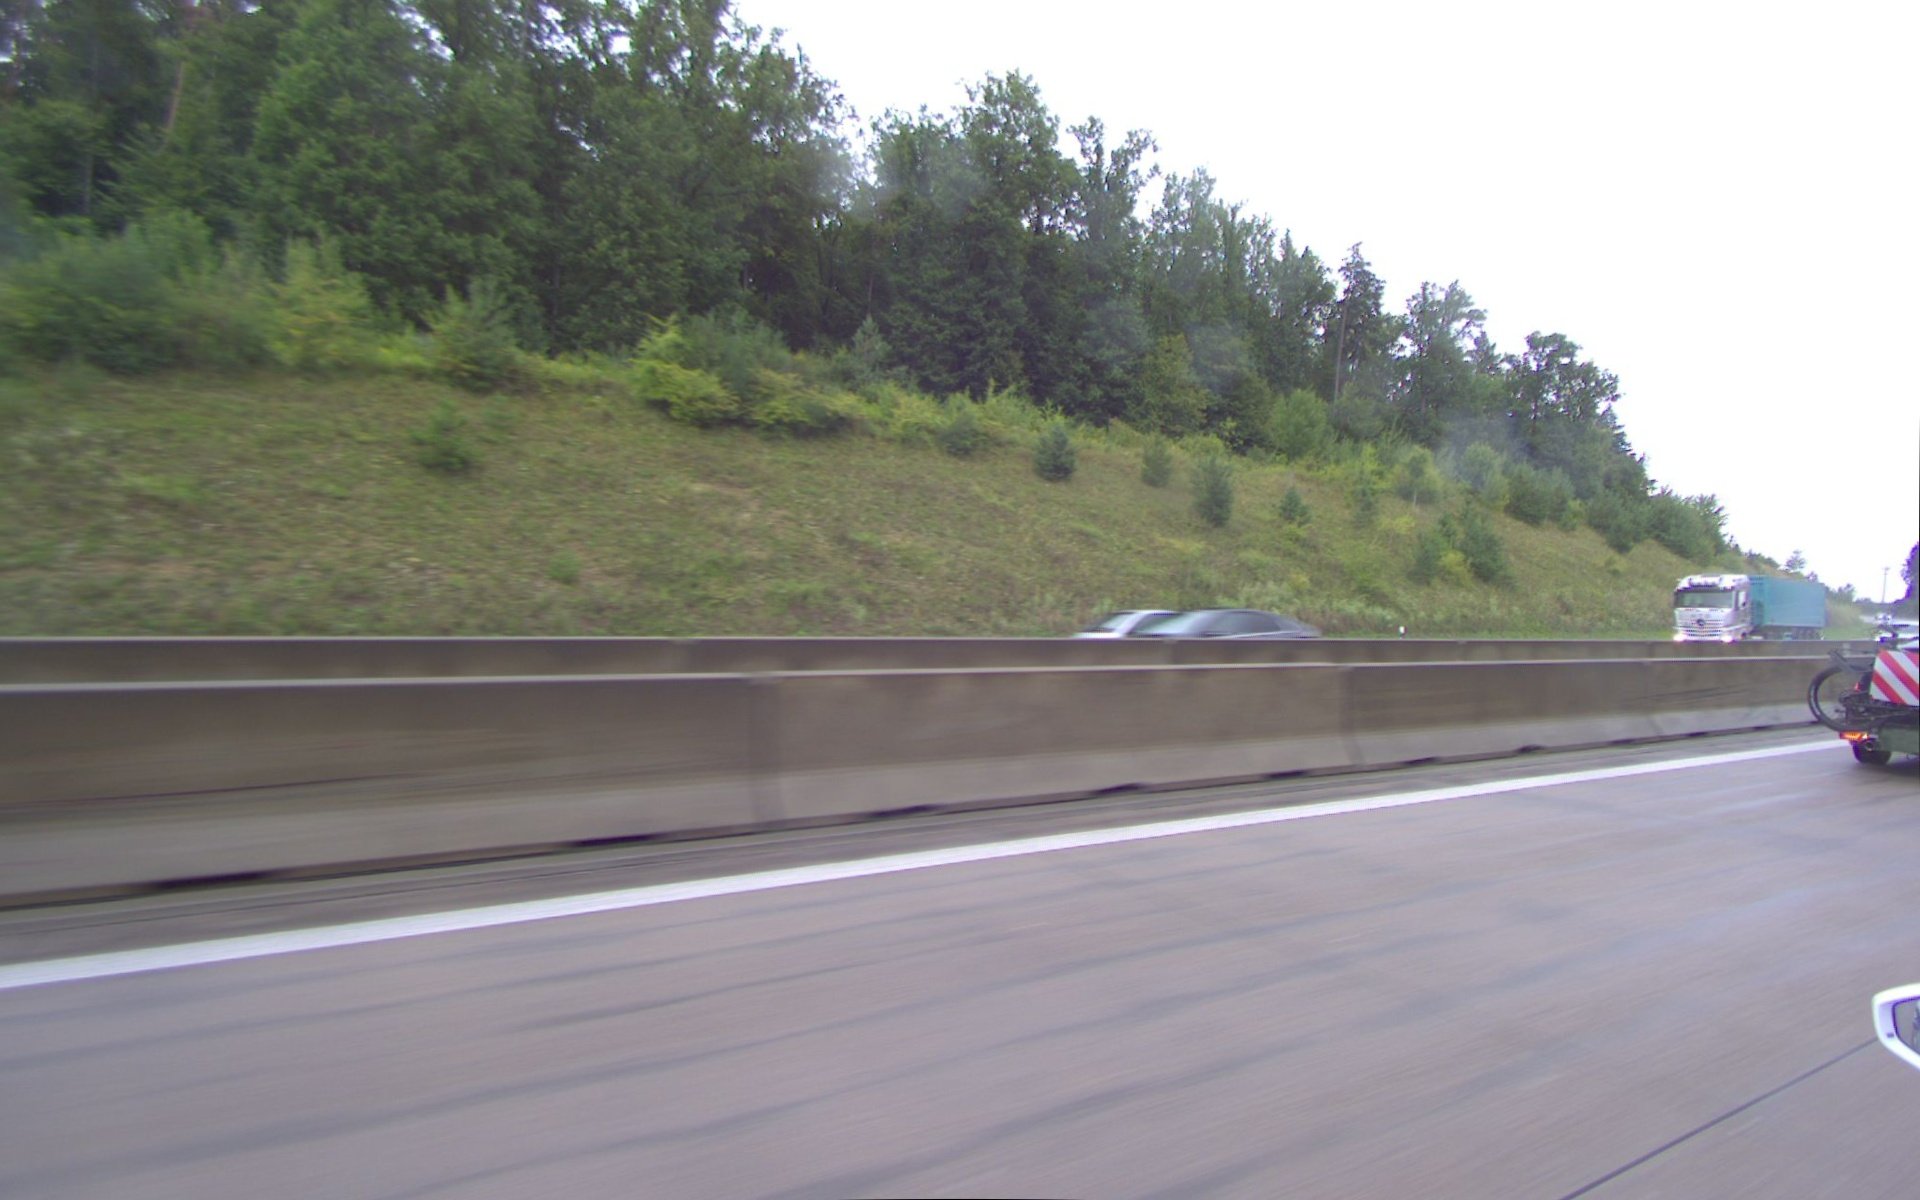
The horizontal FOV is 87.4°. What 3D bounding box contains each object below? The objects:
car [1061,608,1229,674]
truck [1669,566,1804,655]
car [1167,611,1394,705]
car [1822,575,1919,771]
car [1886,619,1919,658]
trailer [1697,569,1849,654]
[{"bbox_3d":[4.643,1.008,25.103,3.953,1.513,1.722,1,0,-30],"label":"car"},{"bbox_3d":[36.923,0.538,47.689,7.289,3.941,2.889,1,0,-34],"label":"truck"},{"bbox_3d":[5.824,0.994,18.155,3.953,1.513,1.722,1,0,-30],"label":"car"},{"bbox_3d":[12.312,0.802,11.663,6.097,1.971,1.896,1,0,-34],"label":"car"},{"bbox_3d":[45.978,1.829,47.863,4.710,1.800,1.720,1,0,-34],"label":"car"},{"bbox_3d":[41.087,0.635,50.557,10.922,3.941,2.888,1,0,-34],"label":"trailer"}]
